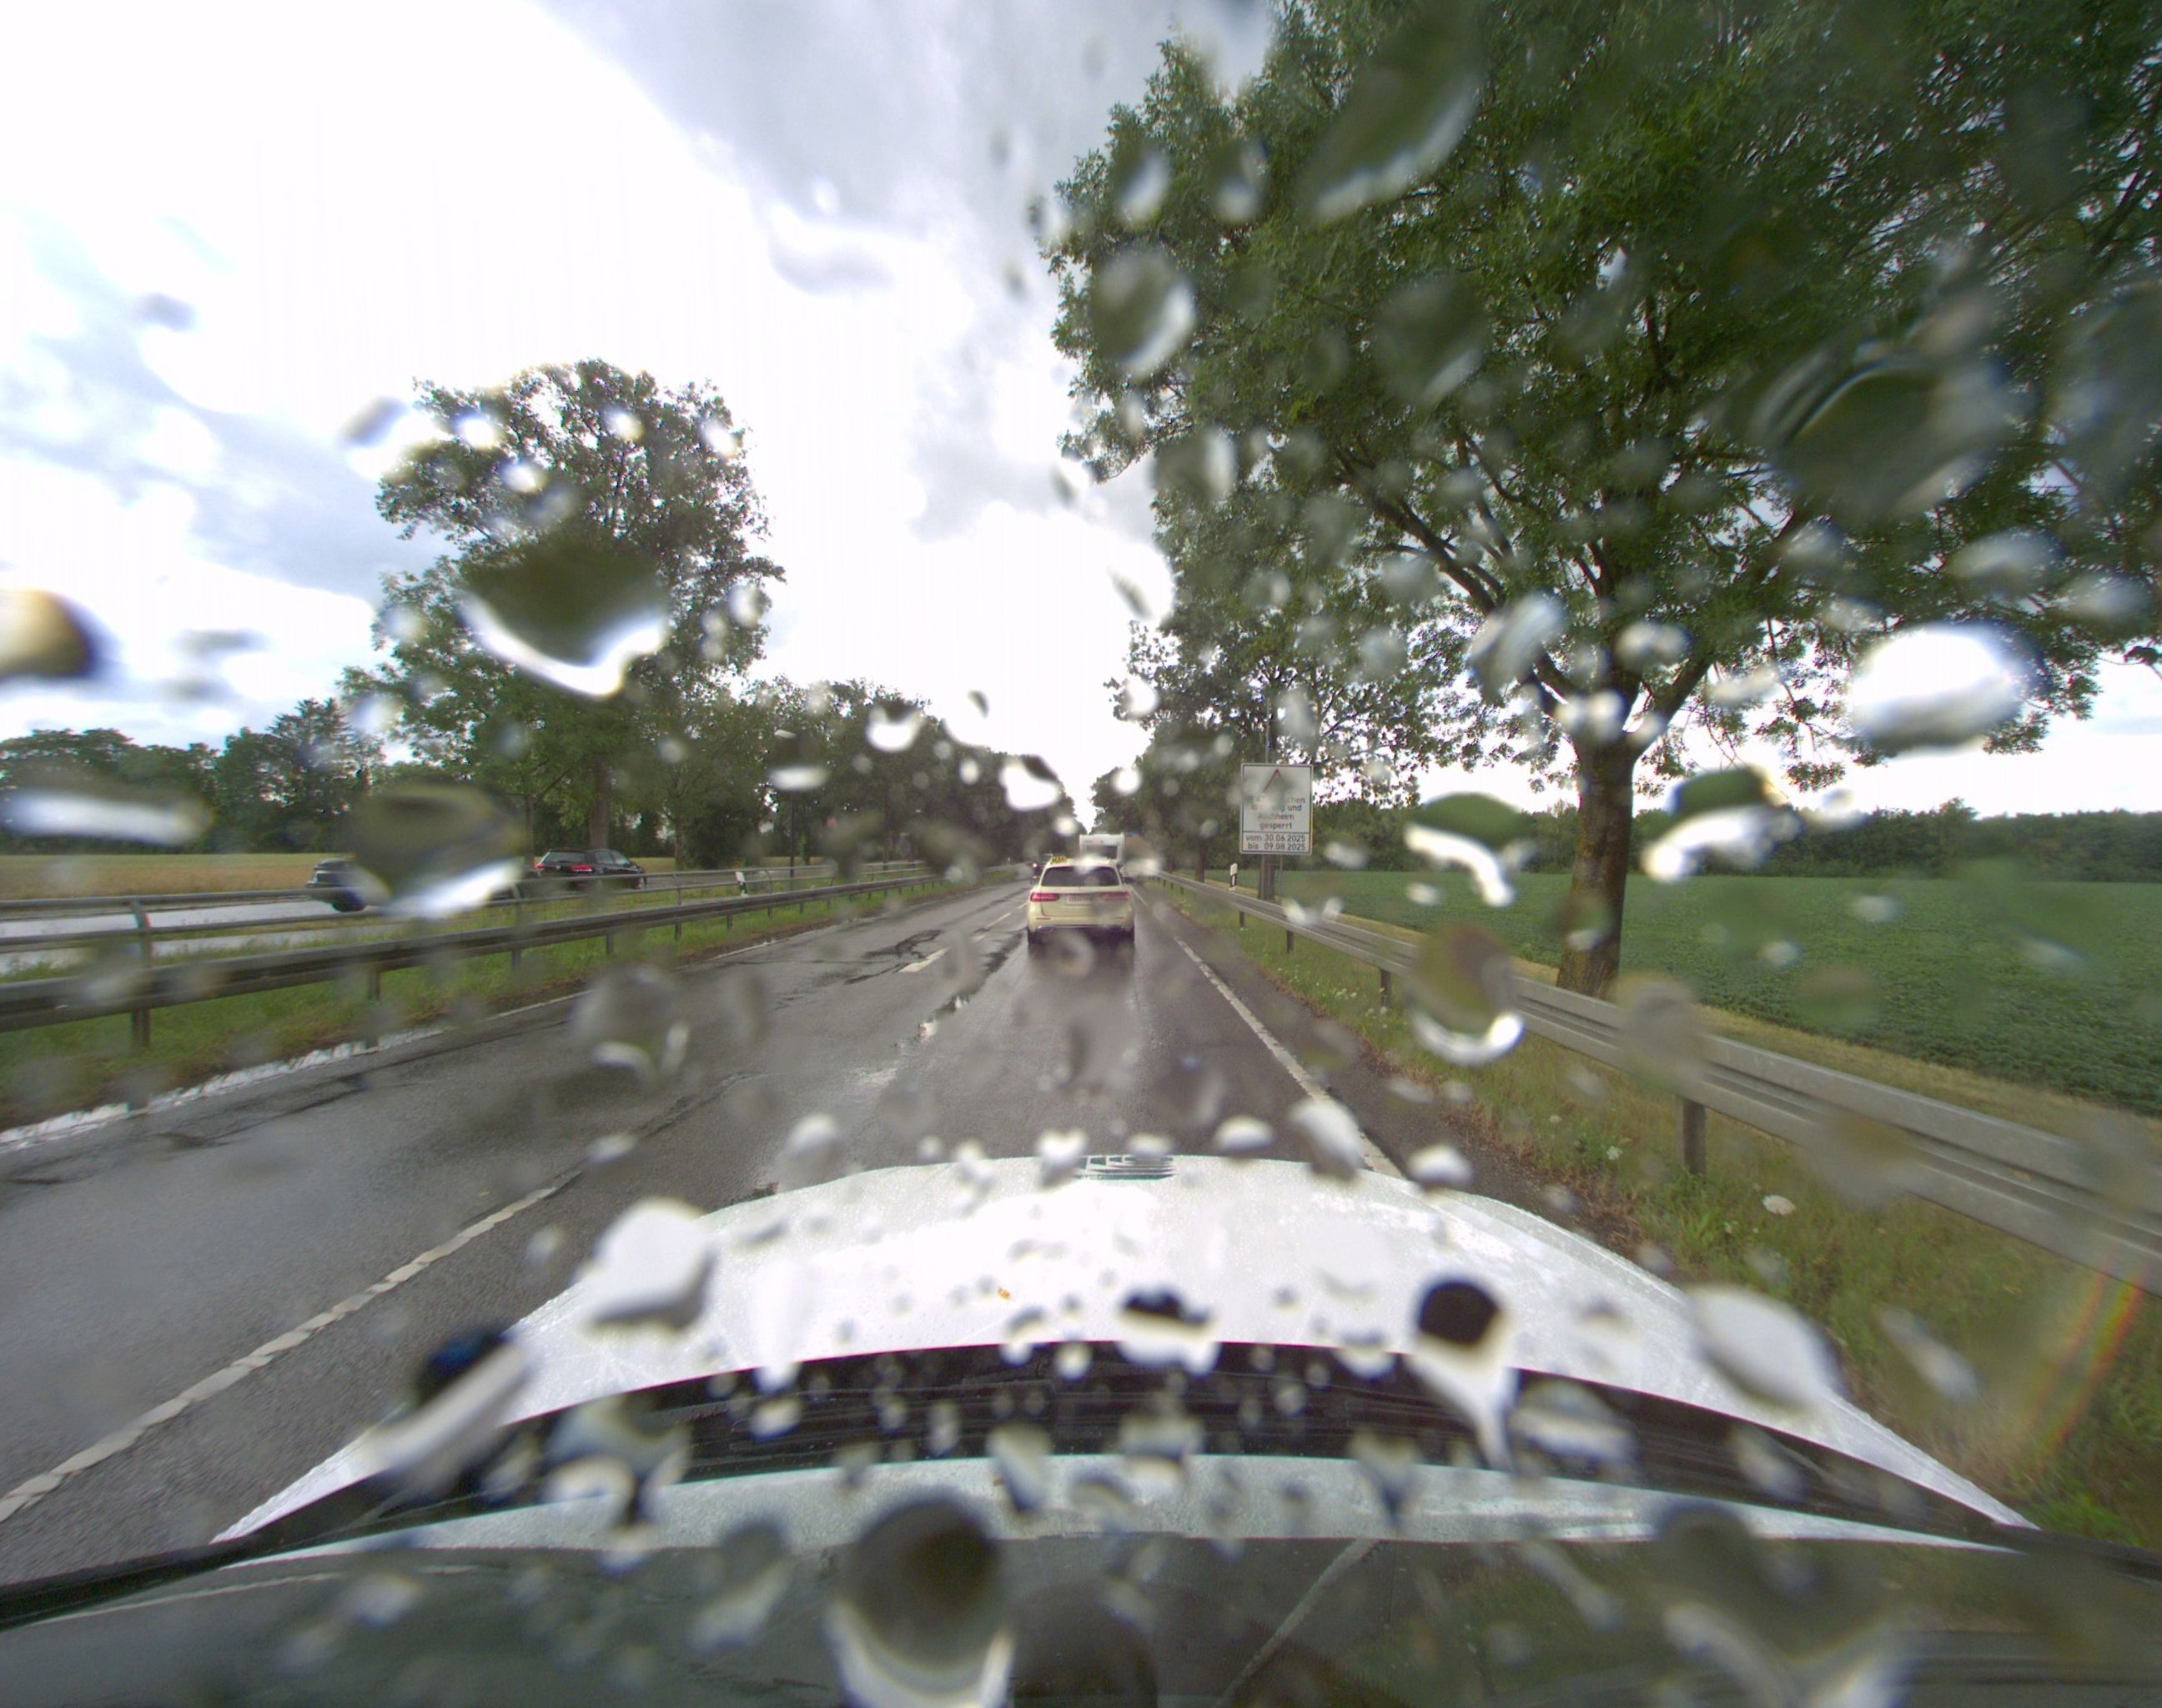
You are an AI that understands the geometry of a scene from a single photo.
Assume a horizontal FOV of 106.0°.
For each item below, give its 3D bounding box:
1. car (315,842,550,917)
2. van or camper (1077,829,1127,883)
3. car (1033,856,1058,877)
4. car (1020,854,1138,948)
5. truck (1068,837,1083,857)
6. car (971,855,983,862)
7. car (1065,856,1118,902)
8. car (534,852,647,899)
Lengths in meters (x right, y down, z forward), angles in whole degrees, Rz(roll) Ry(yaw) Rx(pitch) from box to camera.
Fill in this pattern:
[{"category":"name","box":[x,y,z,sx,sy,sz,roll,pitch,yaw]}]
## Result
[{"category":"car","box":[-14.701,0.504,18.933,1.512,1.491,5.117,1,0,-3]},{"category":"van or camper","box":[1.187,0.107,43.209,2.479,2.685,5.704,0,0,3]},{"category":"car","box":[-2.886,1.024,66.518,1.758,1.619,4.001,-1,0,1]},{"category":"car","box":[0.060,0.747,14.950,1.857,1.476,4.003,-1,0,3]},{"category":"truck","box":[-0.929,-1.222,144.788,2.567,3.452,9.555,-1,0,0]},{"category":"car","box":[-21.975,0.984,171.719,1.778,1.416,4.003,1,0,3]},{"category":"car","box":[0.411,0.805,27.856,1.657,1.430,4.003,-1,0,3]},{"category":"car","box":[-15.070,0.602,25.237,1.280,1.331,3.894,0,0,-3]}]
